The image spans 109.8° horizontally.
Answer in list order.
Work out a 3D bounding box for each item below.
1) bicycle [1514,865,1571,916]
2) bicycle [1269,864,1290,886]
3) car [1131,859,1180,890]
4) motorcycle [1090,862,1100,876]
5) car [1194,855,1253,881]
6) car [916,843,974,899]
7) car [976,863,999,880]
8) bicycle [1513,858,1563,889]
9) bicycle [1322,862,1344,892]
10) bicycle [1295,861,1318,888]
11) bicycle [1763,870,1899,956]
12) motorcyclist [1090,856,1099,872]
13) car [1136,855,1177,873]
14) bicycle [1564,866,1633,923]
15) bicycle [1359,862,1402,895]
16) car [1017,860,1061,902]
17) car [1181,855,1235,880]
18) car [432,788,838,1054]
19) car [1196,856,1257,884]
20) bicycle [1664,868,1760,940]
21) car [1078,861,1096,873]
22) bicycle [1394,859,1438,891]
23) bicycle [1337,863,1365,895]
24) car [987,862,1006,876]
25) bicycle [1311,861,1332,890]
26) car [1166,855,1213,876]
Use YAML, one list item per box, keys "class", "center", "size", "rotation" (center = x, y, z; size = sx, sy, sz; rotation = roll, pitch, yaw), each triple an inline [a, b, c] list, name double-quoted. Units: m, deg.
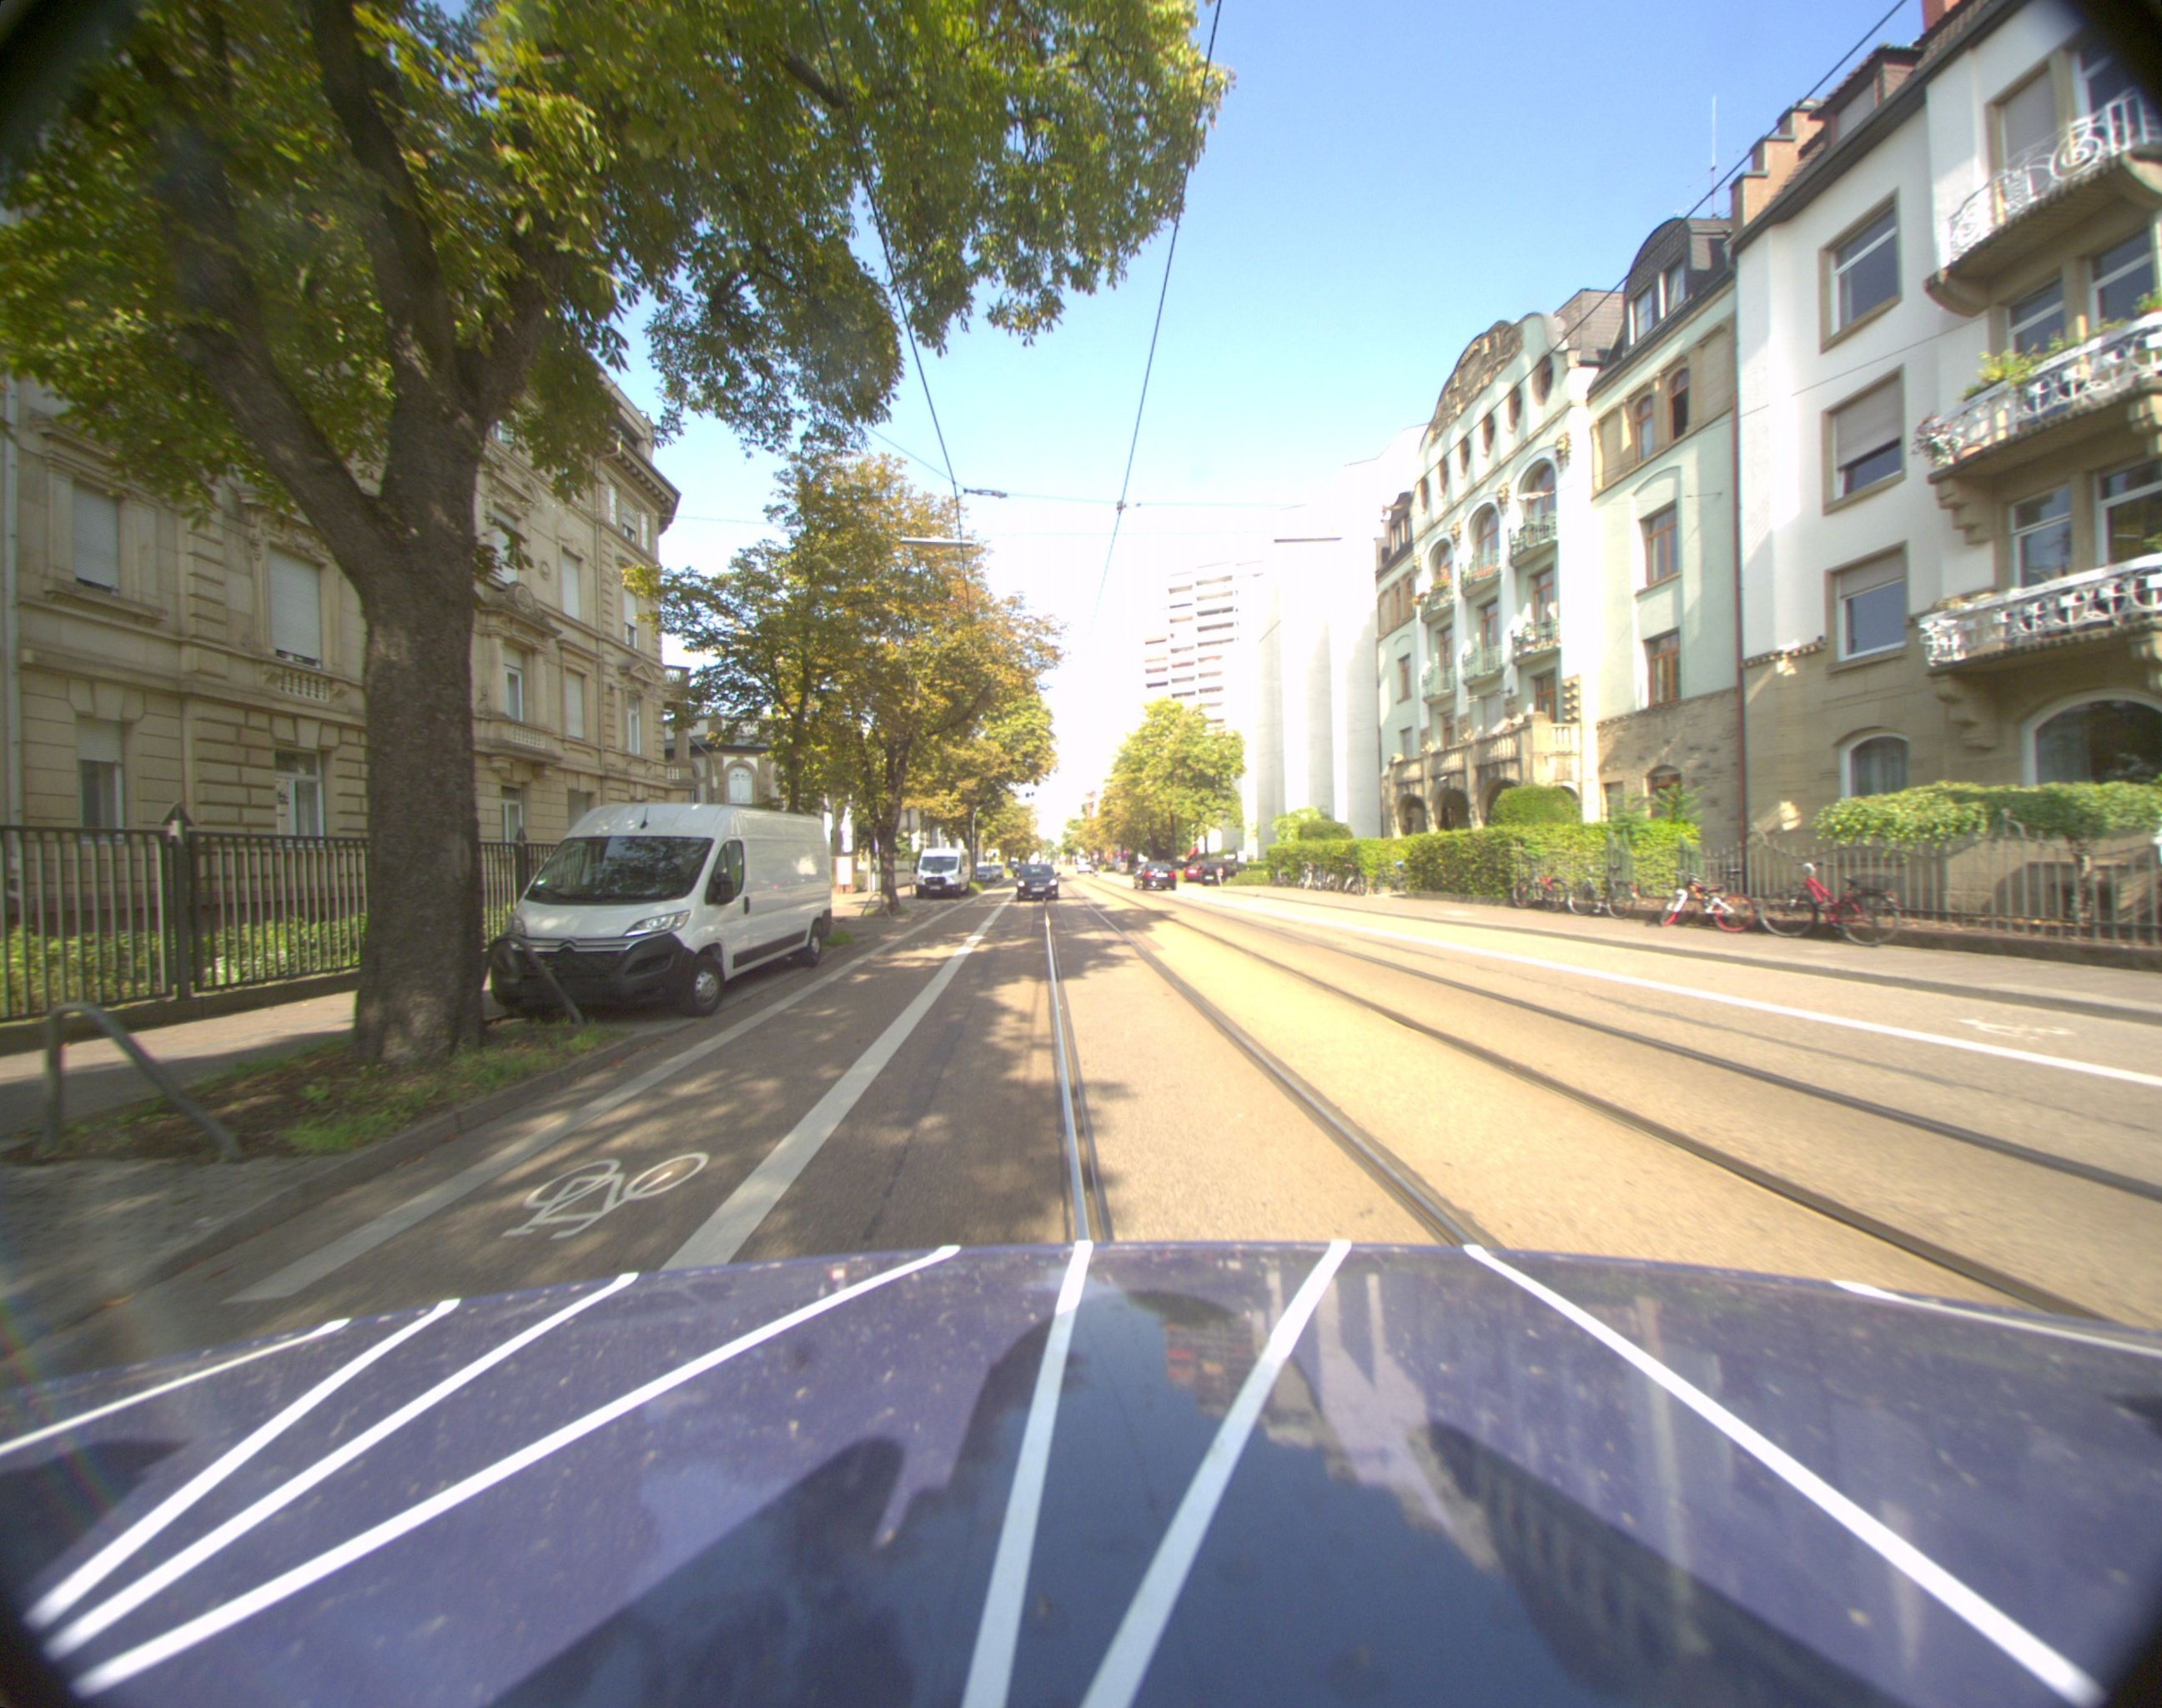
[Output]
- class: "bicycle"
  center: [10.292, 0.797, 16.972]
  size: [0.371, 1.081, 1.354]
  rotation: [-1, 0, -3]
- class: "bicycle"
  center: [9.184, 0.952, 35.202]
  size: [0.425, 0.972, 1.769]
  rotation: [-1, 0, -4]
- class: "car"
  center: [3.727, 1.015, 38.860]
  size: [1.701, 1.395, 4.644]
  rotation: [-3, 0, -4]
- class: "motorcycle"
  center: [1.315, 1.413, 72.455]
  size: [0.817, 1.235, 2.201]
  rotation: [-1, 0, -1]
- class: "car"
  center: [8.985, 0.844, 47.767]
  size: [1.767, 1.518, 4.008]
  rotation: [-1, 0, 43]
- class: "car"
  center: [-6.551, 0.780, 37.243]
  size: [1.999, 2.526, 5.866]
  rotation: [0, 0, -2]
- class: "car"
  center: [-8.017, 1.463, 65.552]
  size: [1.758, 1.349, 3.787]
  rotation: [-1, 0, -4]
- class: "bicycle"
  center: [14.491, 0.615, 24.117]
  size: [1.351, 0.943, 0.426]
  rotation: [-1, 0, 30]
- class: "bicycle"
  center: [9.625, 0.852, 29.063]
  size: [0.425, 1.081, 1.677]
  rotation: [-1, 0, 6]
- class: "bicycle"
  center: [9.461, 0.845, 31.878]
  size: [0.425, 1.081, 1.676]
  rotation: [-1, 0, 0]
- class: "bicycle"
  center: [10.463, 0.786, 10.671]
  size: [0.371, 1.081, 1.487]
  rotation: [-1, 0, -3]
- class: "motorcyclist"
  center: [1.306, 0.964, 72.463]
  size: [0.817, 1.445, 0.888]
  rotation: [-1, 0, -1]
- class: "car"
  center: [6.962, 0.878, 69.703]
  size: [1.767, 1.518, 4.008]
  rotation: [-1, 0, 38]
- class: "bicycle"
  center: [10.327, 0.784, 15.202]
  size: [0.371, 1.081, 1.354]
  rotation: [-1, 0, -3]
- class: "bicycle"
  center: [10.243, 0.815, 25.988]
  size: [1.397, 1.081, 0.425]
  rotation: [-1, 0, -20]
- class: "car"
  center: [-1.697, 1.040, 31.200]
  size: [1.611, 1.515, 4.356]
  rotation: [-3, 0, -3]
- class: "car"
  center: [8.502, 0.863, 50.590]
  size: [1.767, 1.518, 4.008]
  rotation: [-1, 0, 38]
- class: "car"
  center: [-5.199, 0.636, 10.303]
  size: [2.051, 2.484, 6.227]
  rotation: [-1, 0, -3]
- class: "car"
  center: [8.472, 0.889, 43.951]
  size: [1.767, 1.518, 4.008]
  rotation: [-1, 0, 38]
- class: "bicycle"
  center: [10.290, 0.785, 12.439]
  size: [0.371, 1.081, 1.354]
  rotation: [-1, 0, -3]
- class: "car"
  center: [0.709, 1.479, 89.543]
  size: [1.758, 1.349, 3.787]
  rotation: [-1, 0, -4]
- class: "bicycle"
  center: [11.598, 0.727, 26.324]
  size: [1.354, 1.081, 0.425]
  rotation: [-1, 0, -4]
- class: "bicycle"
  center: [9.577, 0.864, 26.962]
  size: [0.425, 1.081, 1.676]
  rotation: [-1, 0, 1]
- class: "car"
  center: [-8.762, 1.521, 79.125]
  size: [1.758, 1.349, 3.787]
  rotation: [-1, 0, -4]
- class: "bicycle"
  center: [9.435, 0.846, 29.865]
  size: [0.425, 1.081, 1.677]
  rotation: [-1, 0, 6]
- class: "car"
  center: [8.336, 0.885, 58.054]
  size: [1.767, 1.518, 4.008]
  rotation: [-1, 0, 38]
